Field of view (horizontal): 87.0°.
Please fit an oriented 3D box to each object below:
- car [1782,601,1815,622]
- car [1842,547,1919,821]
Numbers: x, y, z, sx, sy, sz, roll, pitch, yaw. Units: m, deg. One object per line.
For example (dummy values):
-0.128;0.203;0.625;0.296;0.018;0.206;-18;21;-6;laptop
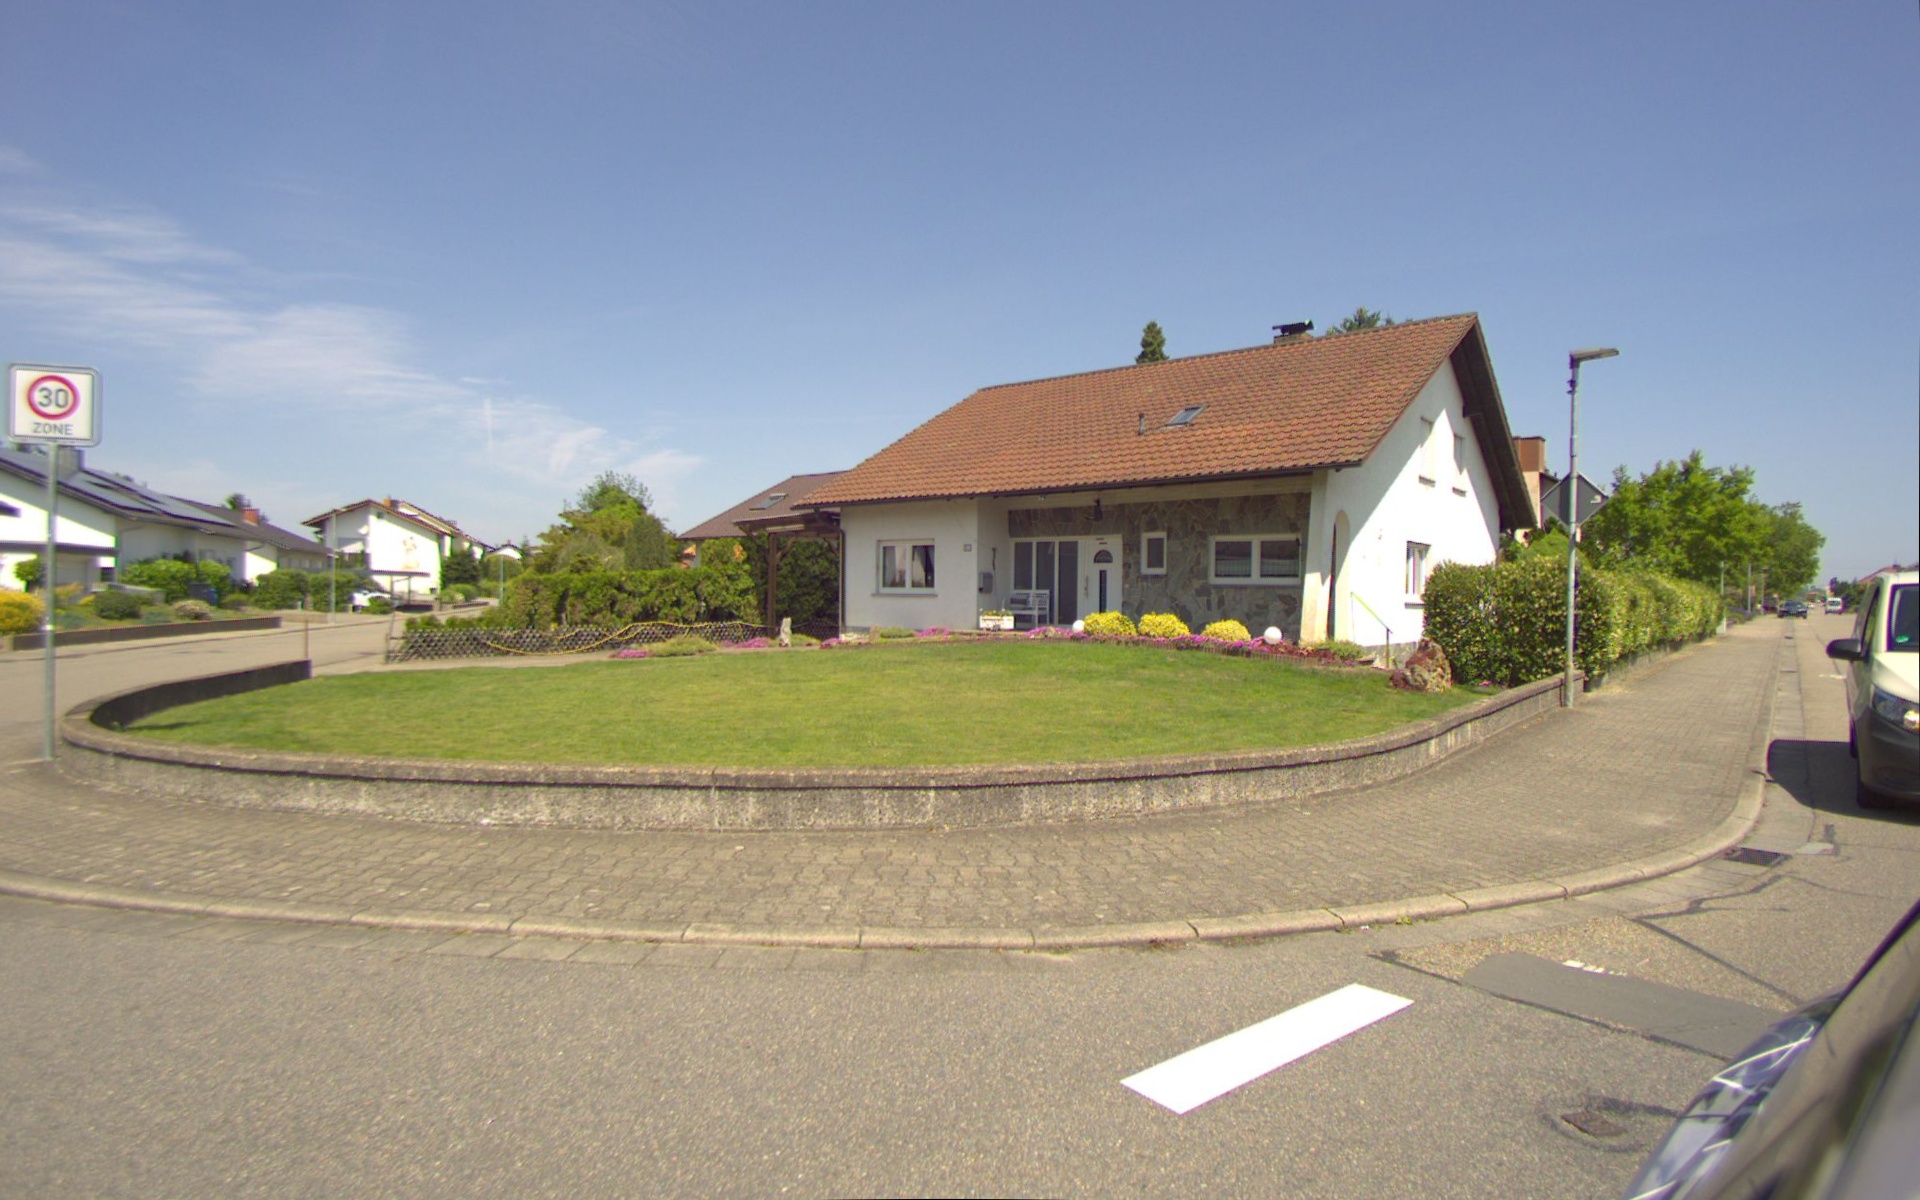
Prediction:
71.708;0.950;86.482;1.993;1.616;3.939;1;1;42;car
8.694;0.558;8.391;2.011;1.879;4.994;1;1;41;car
